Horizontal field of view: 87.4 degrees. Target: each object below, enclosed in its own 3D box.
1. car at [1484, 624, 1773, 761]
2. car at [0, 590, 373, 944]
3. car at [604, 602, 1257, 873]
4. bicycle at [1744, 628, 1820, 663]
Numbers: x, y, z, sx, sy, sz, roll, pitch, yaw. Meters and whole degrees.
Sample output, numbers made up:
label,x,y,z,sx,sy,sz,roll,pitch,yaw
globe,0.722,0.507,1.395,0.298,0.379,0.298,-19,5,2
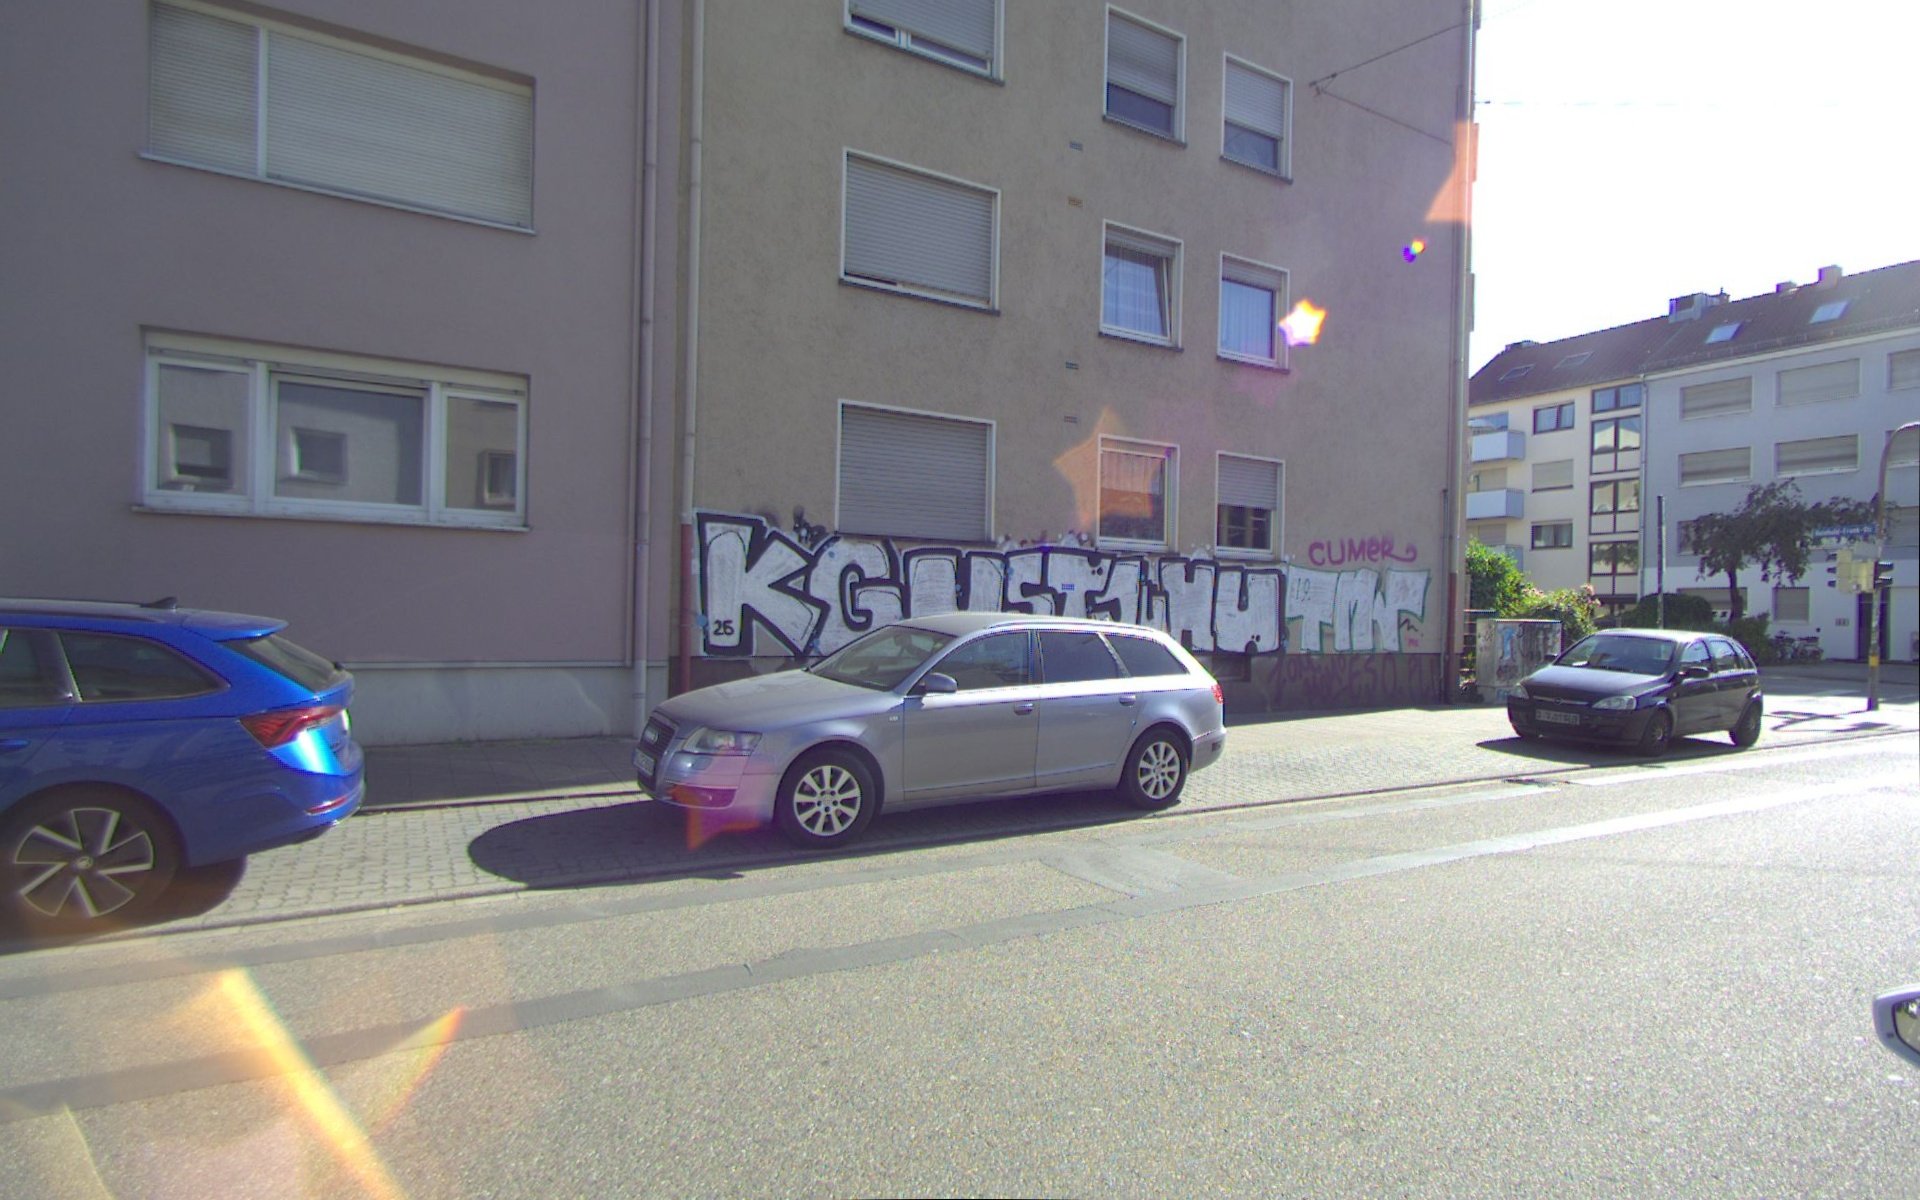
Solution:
label,x,y,z,sx,sy,sz,roll,pitch,yaw
car,8.557,1.082,12.807,3.667,1.444,1.608,1,1,-31
car,-5.366,0.703,4.614,4.559,1.485,1.709,1,1,-31
car,-0.078,0.840,7.696,4.759,1.485,1.708,1,2,-31
bicycle,29.711,1.637,36.355,2.068,1.188,0.738,0,-1,37
